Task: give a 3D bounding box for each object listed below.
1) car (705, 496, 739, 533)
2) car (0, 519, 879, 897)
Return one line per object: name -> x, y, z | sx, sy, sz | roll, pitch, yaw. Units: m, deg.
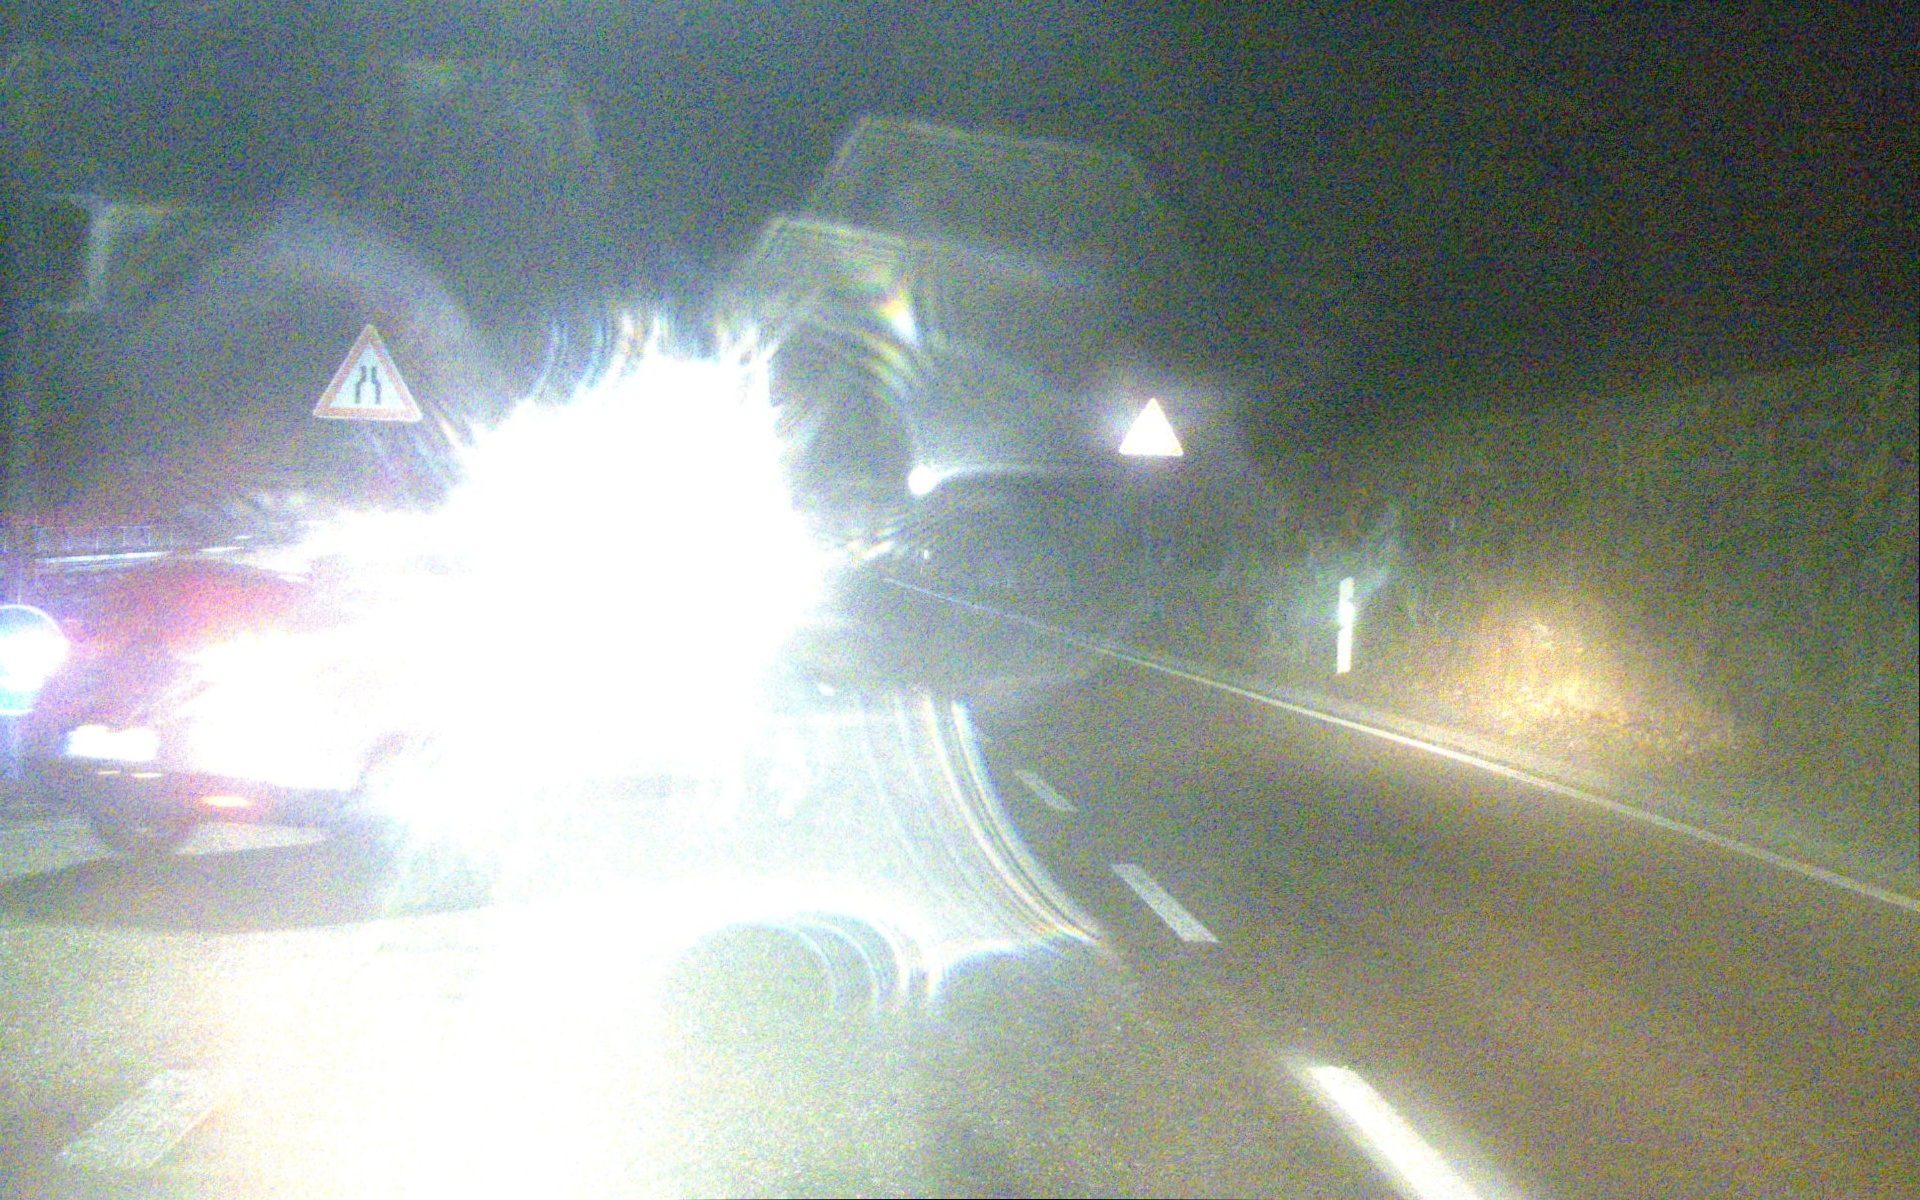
car -> -13.556, -4.862, 195.888 | 1.791, 2.015, 4.580 | 1, 1, -2
car -> -2.320, 0.411, 16.128 | 1.514, 1.513, 4.365 | 2, 1, 36
